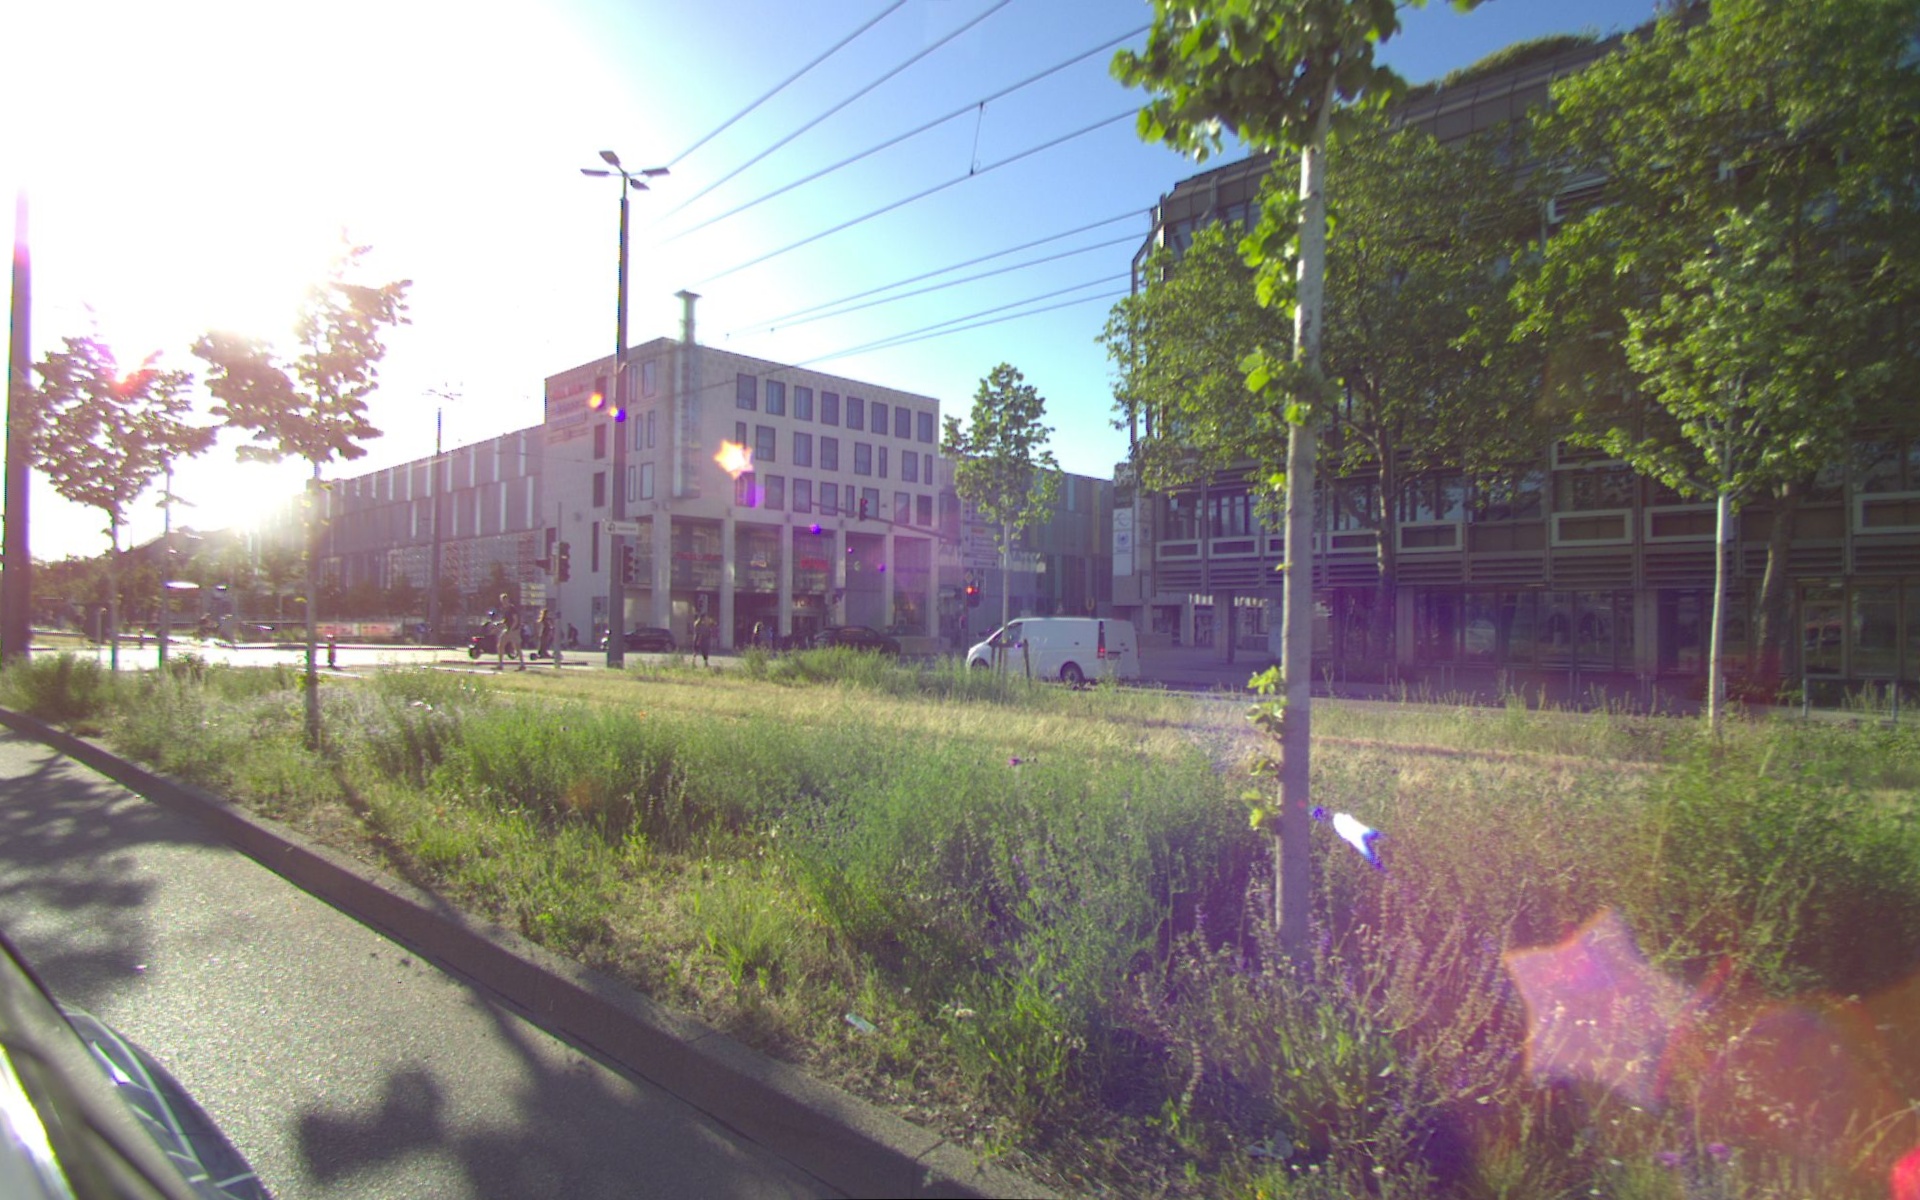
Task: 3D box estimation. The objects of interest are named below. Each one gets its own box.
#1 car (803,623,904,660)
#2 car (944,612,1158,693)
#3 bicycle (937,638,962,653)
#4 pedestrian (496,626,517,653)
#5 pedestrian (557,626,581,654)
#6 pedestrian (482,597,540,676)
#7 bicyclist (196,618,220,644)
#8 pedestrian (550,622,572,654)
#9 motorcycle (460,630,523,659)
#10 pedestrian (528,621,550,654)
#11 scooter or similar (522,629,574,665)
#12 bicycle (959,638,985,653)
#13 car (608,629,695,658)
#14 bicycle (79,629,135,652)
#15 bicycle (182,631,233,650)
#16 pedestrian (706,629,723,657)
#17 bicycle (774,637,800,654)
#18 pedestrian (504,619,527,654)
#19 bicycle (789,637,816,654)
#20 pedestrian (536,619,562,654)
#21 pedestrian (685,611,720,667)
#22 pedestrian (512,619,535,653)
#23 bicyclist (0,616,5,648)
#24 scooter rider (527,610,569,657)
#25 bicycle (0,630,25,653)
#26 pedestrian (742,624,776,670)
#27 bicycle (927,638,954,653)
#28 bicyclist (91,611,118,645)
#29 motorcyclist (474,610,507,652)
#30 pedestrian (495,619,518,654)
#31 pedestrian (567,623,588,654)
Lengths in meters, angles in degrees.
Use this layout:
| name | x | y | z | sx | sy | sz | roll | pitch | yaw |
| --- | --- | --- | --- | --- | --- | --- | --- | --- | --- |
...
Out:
| name | x | y | z | sx | sy | sz | roll | pitch | yaw |
| --- | --- | --- | --- | --- | --- | --- | --- | --- | --- |
| car | -5.142 | 2.000 | 49.429 | 2.200 | 1.675 | 4.726 | -1 | -2 | 41 |
| car | 2.394 | 1.407 | 27.914 | 5.710 | 2.029 | 2.233 | -1 | -4 | 44 |
| bicycle | -0.856 | 3.672 | 81.679 | 0.650 | 1.119 | 2.479 | 2 | -2 | -41 |
| pedestrian | -26.922 | 2.343 | 60.100 | 0.930 | 1.583 | 0.843 | 1 | -2 | -10 |
| pedestrian | -24.368 | 2.488 | 63.083 | 0.996 | 1.663 | 0.946 | 0 | -2 | 7 |
| pedestrian | -11.294 | 0.901 | 25.456 | 1.034 | 1.925 | 1.016 | 2 | -2 | -42 |
| bicyclist | -39.358 | 1.623 | 52.953 | 0.805 | 1.367 | 0.830 | -1 | -1 | 41 |
| pedestrian | -25.633 | 2.441 | 65.039 | 0.906 | 2.029 | 1.021 | 0 | -2 | 9 |
| motorcycle | -16.862 | 1.591 | 36.445 | 1.929 | 0.976 | 0.758 | 2 | -1 | -42 |
| pedestrian | -27.504 | 2.438 | 66.194 | 0.893 | 2.140 | 0.939 | 0 | -2 | 25 |
| scooter or similar | -13.933 | 1.588 | 34.220 | 0.644 | 1.184 | 1.462 | 0 | -1 | 44 |
| bicycle | 0.989 | 3.751 | 83.538 | 0.650 | 1.119 | 2.479 | 2 | -2 | -41 |
| car | -17.259 | 2.404 | 56.726 | 4.230 | 1.593 | 1.945 | 2 | -2 | -44 |
| bicycle | -39.556 | 1.860 | 46.938 | 1.946 | 1.004 | 0.650 | 1 | -2 | -37 |
| bicycle | -39.352 | 2.103 | 52.946 | 0.805 | 0.934 | 2.049 | -1 | -1 | 41 |
| pedestrian | -15.743 | 2.763 | 64.882 | 0.745 | 1.753 | 0.753 | 2 | -2 | -45 |
| bicycle | -12.057 | 3.186 | 70.497 | 0.648 | 1.121 | 2.413 | 2 | -2 | -42 |
| pedestrian | -27.180 | 2.212 | 61.921 | 0.888 | 2.140 | 0.944 | 0 | -2 | 8 |
| bicycle | -11.101 | 3.208 | 71.416 | 0.673 | 1.119 | 2.479 | 2 | -2 | -41 |
| pedestrian | -25.631 | 2.249 | 63.113 | 1.050 | 2.145 | 1.096 | 1 | -2 | 6 |
| pedestrian | -8.188 | 1.238 | 32.224 | 0.857 | 1.757 | 0.729 | -1 | -2 | 40 |
| pedestrian | -27.667 | 2.264 | 64.147 | 0.892 | 2.140 | 0.940 | 0 | -2 | 21 |
| bicyclist | -42.418 | 1.405 | 44.324 | 0.830 | 1.412 | 0.806 | 1 | -1 | -43 |
| scooter rider | -13.931 | 1.113 | 34.231 | 0.644 | 1.556 | 1.101 | 0 | -1 | 45 |
| bicycle | -42.391 | 1.844 | 44.346 | 2.046 | 0.986 | 0.806 | 1 | -1 | -43 |
| pedestrian | -6.975 | 1.615 | 35.081 | 0.888 | 1.561 | 0.921 | -1 | -1 | 9 |
| bicycle | -1.572 | 3.662 | 81.257 | 0.822 | 1.119 | 2.479 | 2 | -2 | -41 |
| bicyclist | -39.639 | 1.275 | 46.897 | 0.926 | 1.556 | 0.650 | 1 | -2 | -37 |
| motorcyclist | -16.905 | 1.111 | 36.420 | 0.868 | 1.495 | 0.758 | 2 | -1 | -42 |
| pedestrian | -28.195 | 2.285 | 62.874 | 0.889 | 2.140 | 0.943 | 0 | -2 | 13 |
| pedestrian | -25.195 | 2.557 | 66.711 | 0.906 | 2.029 | 1.021 | 0 | -2 | 8 |
